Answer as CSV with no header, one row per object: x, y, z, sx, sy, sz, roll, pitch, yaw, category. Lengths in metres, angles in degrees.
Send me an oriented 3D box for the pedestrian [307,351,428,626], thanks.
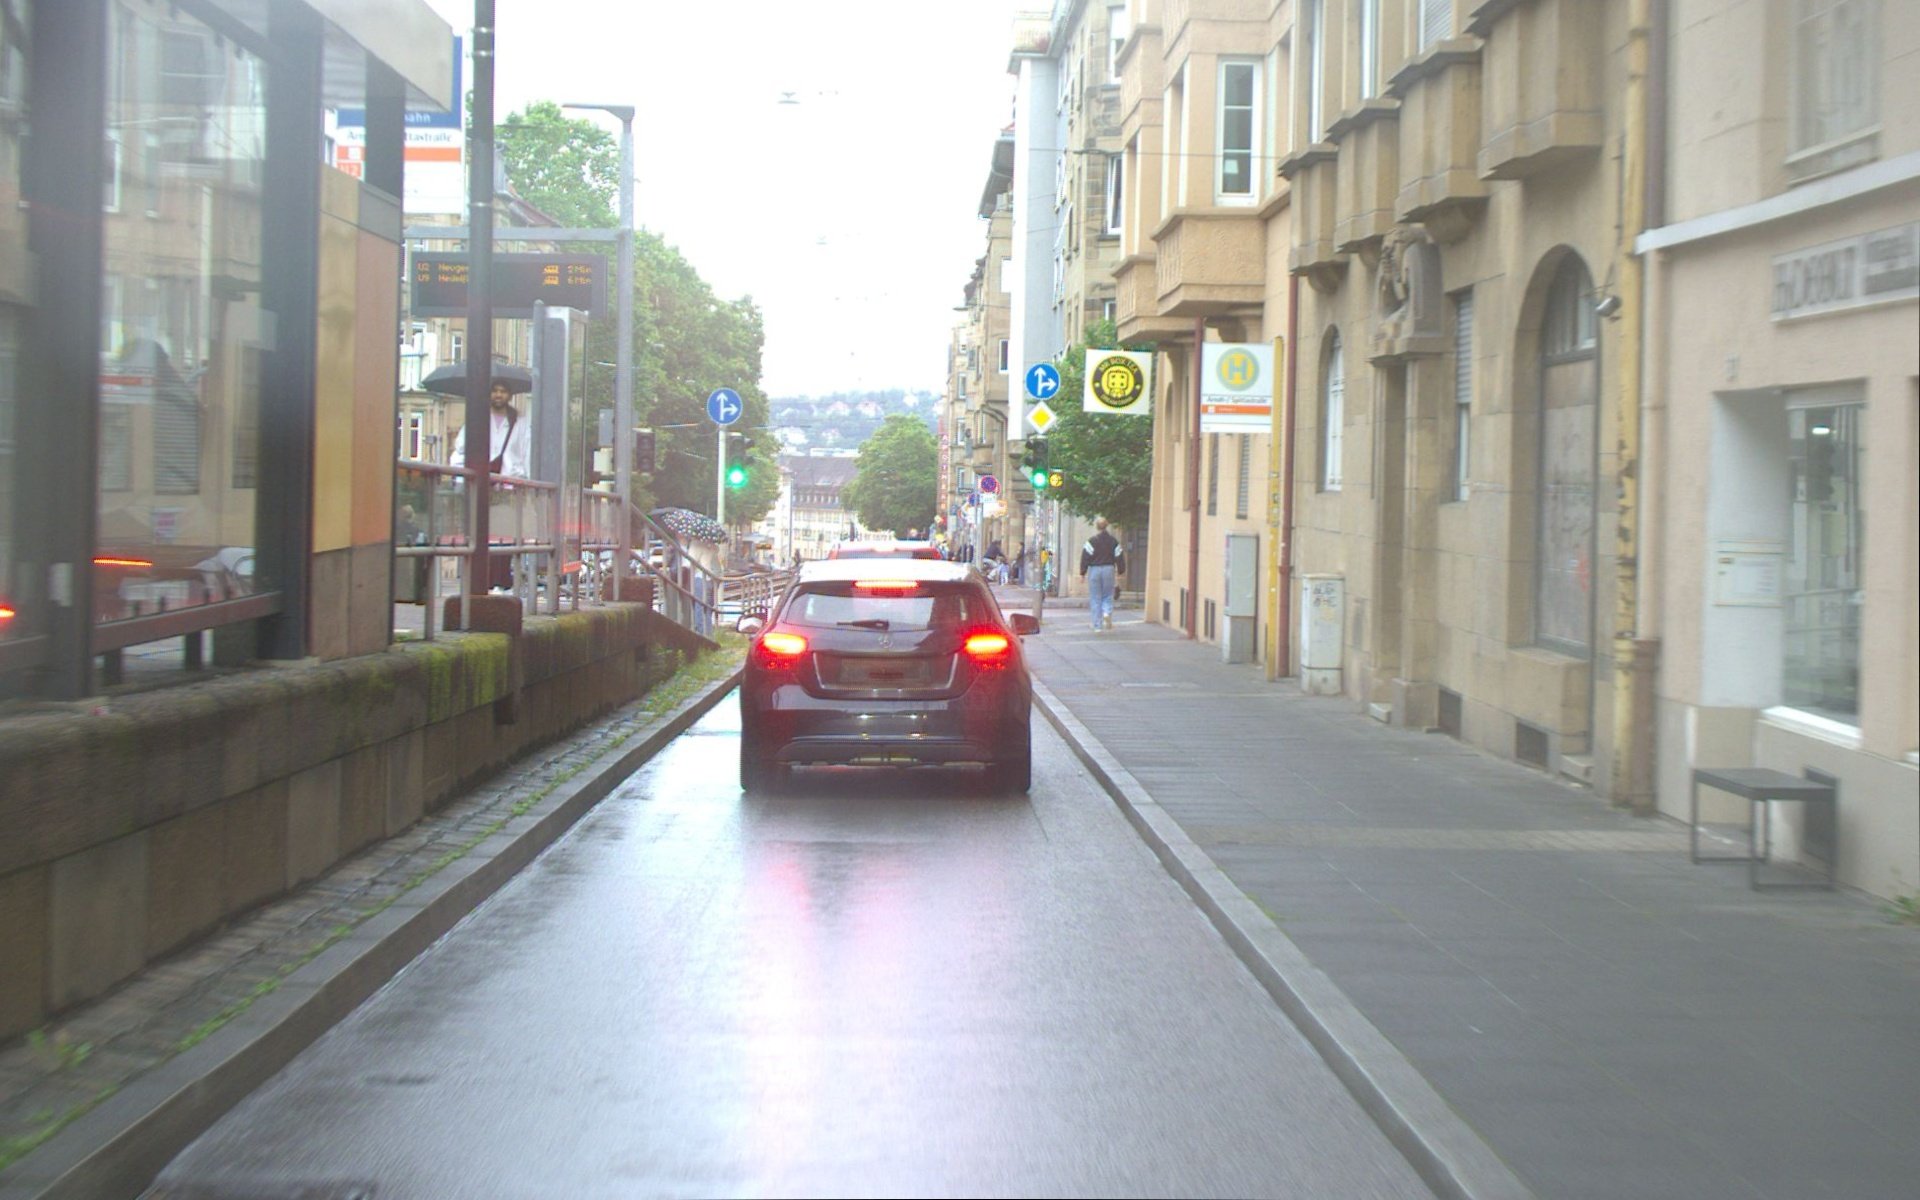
-3.906,-0.731,22.695,0.643,1.768,0.710,1,1,-1,pedestrian

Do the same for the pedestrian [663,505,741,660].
-3.416,-0.237,45.599,0.926,2.007,0.947,1,1,-1,pedestrian

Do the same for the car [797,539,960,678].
-0.871,0.056,38.650,1.649,1.447,4.000,1,1,1,car

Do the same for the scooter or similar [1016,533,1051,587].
1.671,-0.915,78.204,0.638,1.206,1.553,0,1,-5,scooter or similar

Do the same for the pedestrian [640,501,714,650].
-3.880,-0.343,47.192,0.897,2.007,0.947,1,1,-1,pedestrian

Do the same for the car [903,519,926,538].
-3.288,-5.188,250.022,1.613,1.313,4.000,2,0,-1,car

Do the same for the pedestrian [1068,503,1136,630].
2.129,-0.503,51.296,0.899,1.834,0.968,-3,1,4,pedestrian

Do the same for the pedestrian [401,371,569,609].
-3.647,-0.836,26.503,1.114,1.768,1.111,1,1,-1,pedestrian

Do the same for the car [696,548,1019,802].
-0.569,0.409,22.112,1.866,1.447,4.000,1,1,1,car

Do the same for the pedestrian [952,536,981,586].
0.223,-1.373,121.553,0.945,1.763,1.015,0,1,-3,pedestrian
